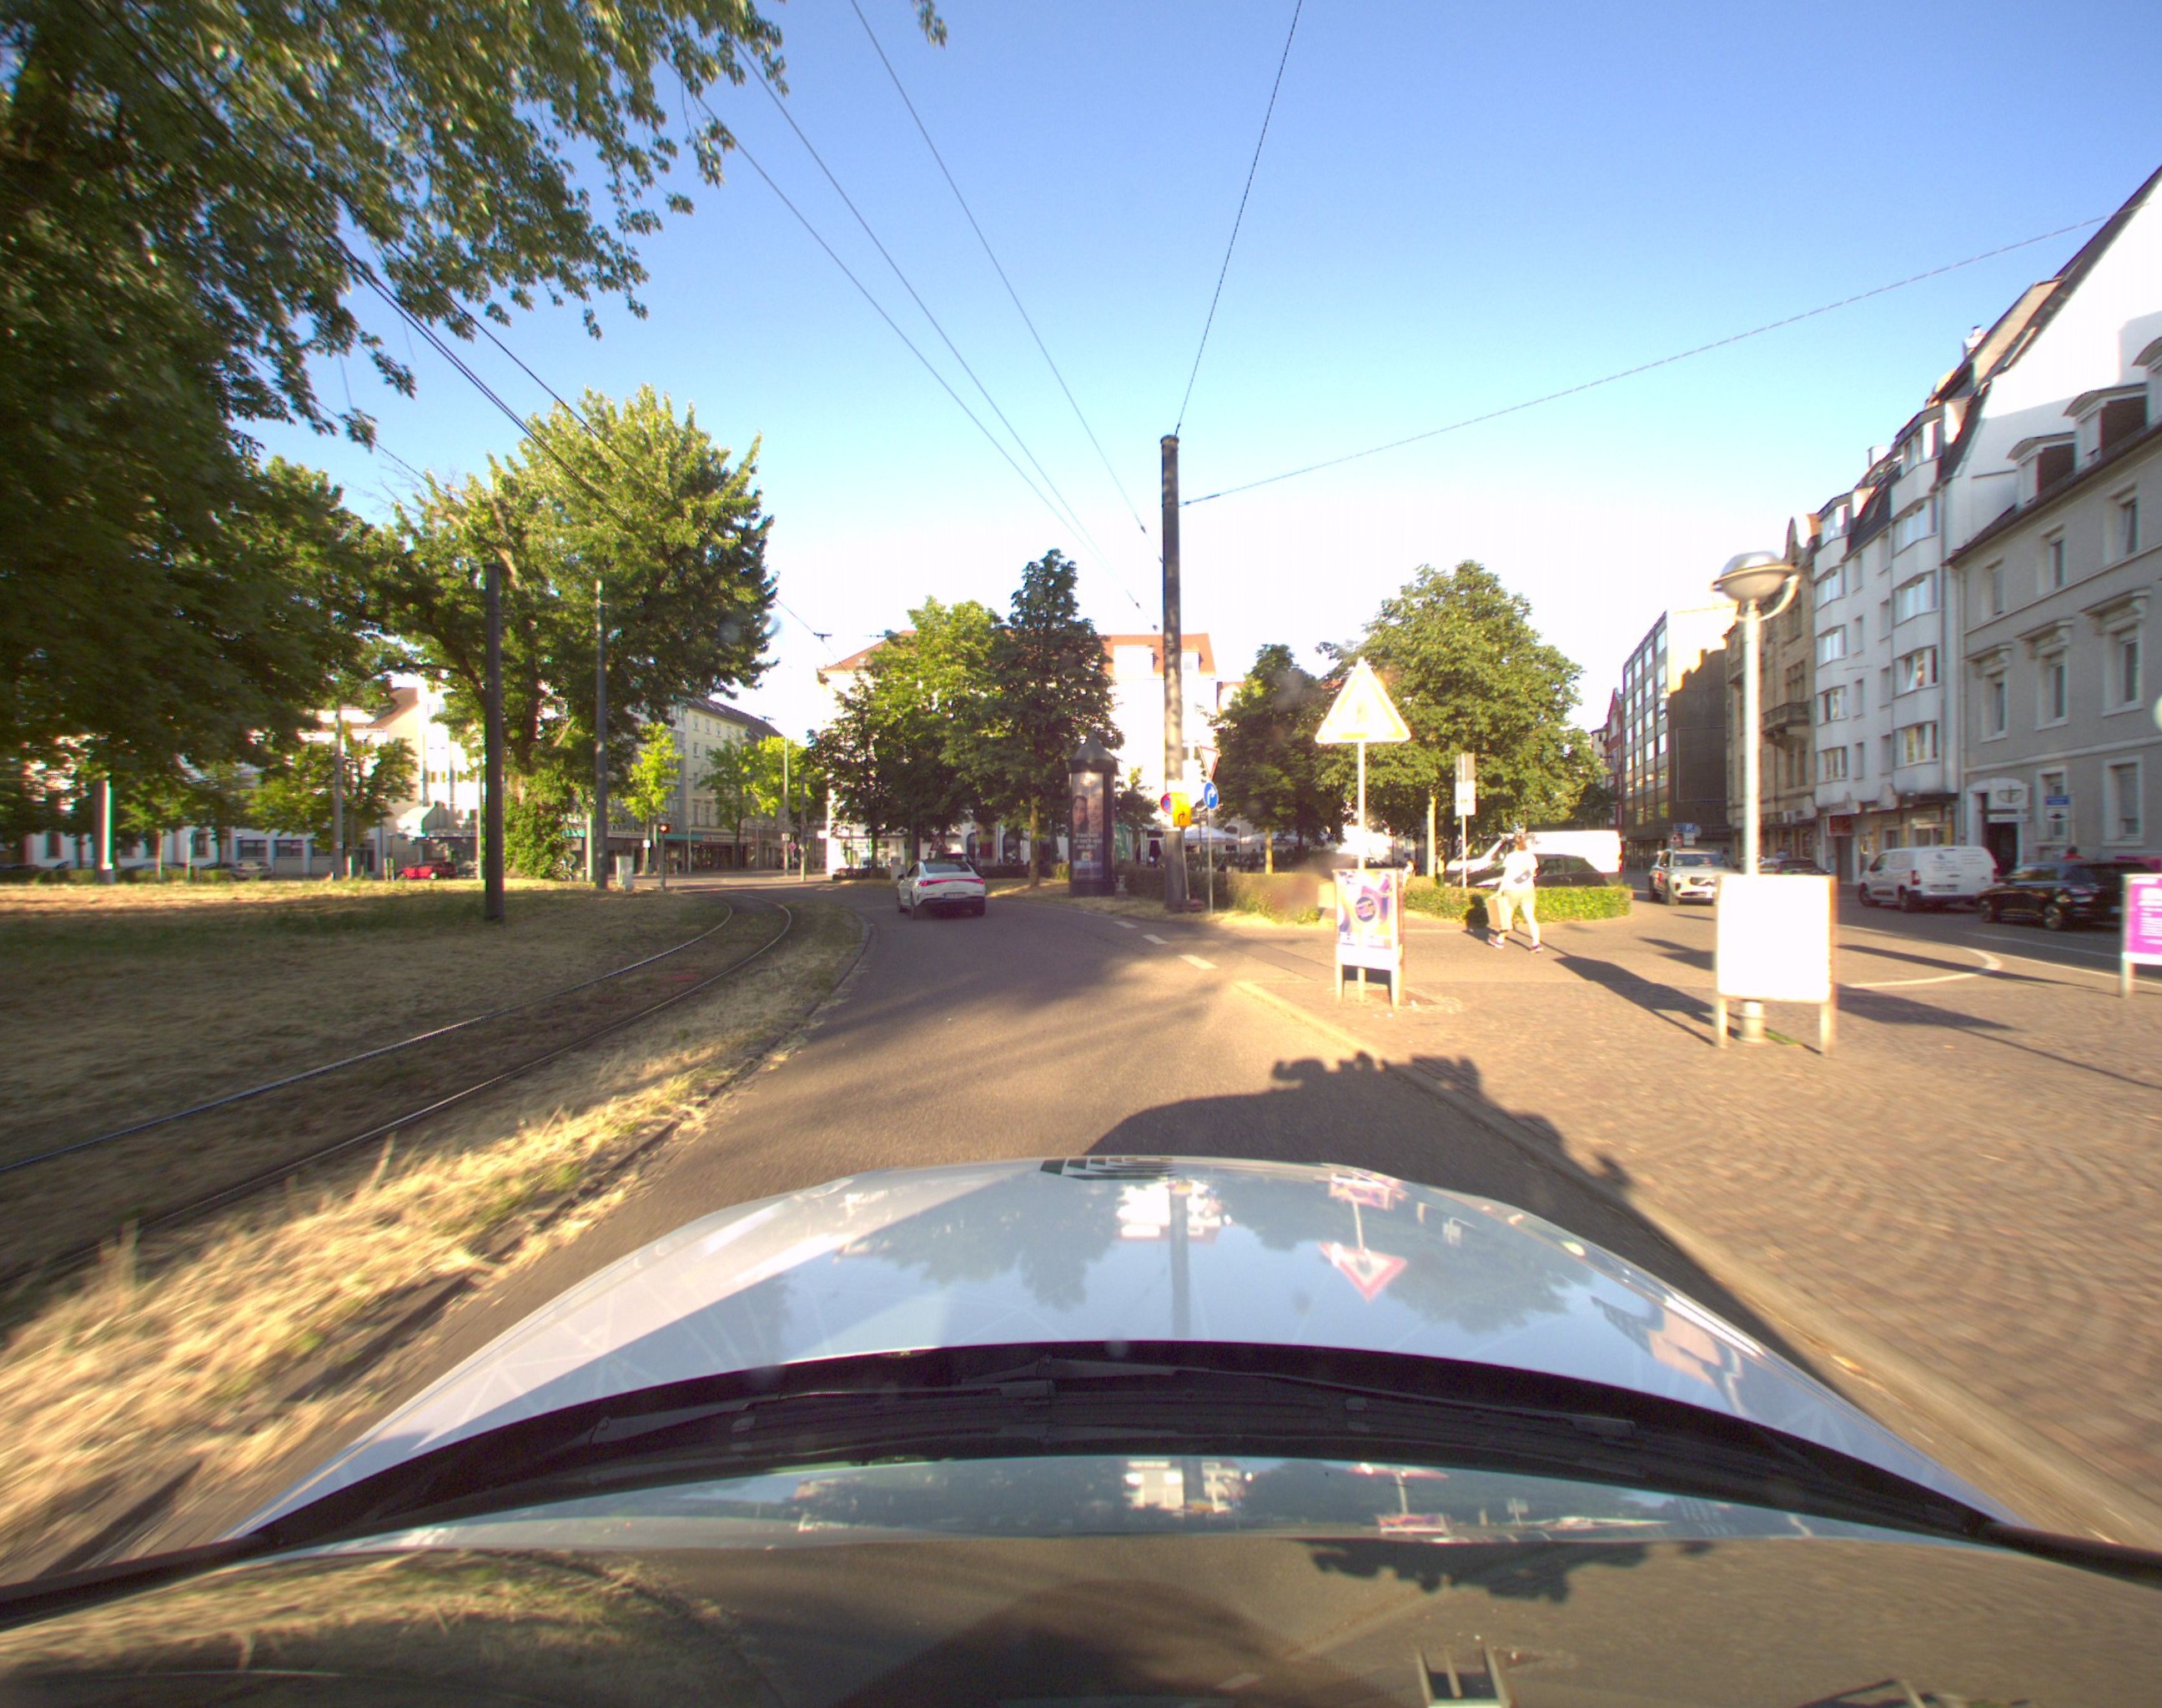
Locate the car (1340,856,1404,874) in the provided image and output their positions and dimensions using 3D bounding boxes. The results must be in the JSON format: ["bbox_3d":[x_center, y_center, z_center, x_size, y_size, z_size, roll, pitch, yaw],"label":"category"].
[{"bbox_3d":[20.784,0.774,58.195,3.970,1.301,1.854,0,0,3],"label":"car"}]

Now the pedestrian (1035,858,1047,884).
[{"bbox_3d":[-2.323,1.006,47.575,0.530,1.497,0.662,0,0,14],"label":"pedestrian"}]

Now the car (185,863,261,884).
[{"bbox_3d":[-63.435,1.434,60.271,3.713,1.442,1.597,0,0,-4],"label":"car"}]

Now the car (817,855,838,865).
[{"bbox_3d":[-37.372,0.897,120.152,1.649,1.476,3.629,0,0,4],"label":"car"}]

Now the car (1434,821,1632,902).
[{"bbox_3d":[15.043,0.231,27.347,5.494,2.594,2.154,0,0,-1],"label":"car"}]

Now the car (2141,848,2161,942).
[{"bbox_3d":[18.654,0.685,12.223,1.718,1.617,3.939,-2,-1,26],"label":"car"}]

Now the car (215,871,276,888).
[{"bbox_3d":[-67.154,2.026,65.483,3.379,1.296,1.531,0,0,1],"label":"car"}]

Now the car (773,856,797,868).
[{"bbox_3d":[-38.380,1.065,105.710,1.650,1.476,3.627,0,0,2],"label":"car"}]

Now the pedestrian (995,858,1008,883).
[{"bbox_3d":[-4.726,0.963,48.457,0.530,1.497,0.662,0,0,14],"label":"pedestrian"}]

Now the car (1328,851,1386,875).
[{"bbox_3d":[21.418,0.696,63.256,3.970,1.782,1.854,0,0,3],"label":"car"}]

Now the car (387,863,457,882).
[{"bbox_3d":[-52.578,1.483,65.001,3.971,1.464,2.001,0,0,2],"label":"car"}]

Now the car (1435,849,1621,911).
[{"bbox_3d":[11.681,0.645,21.417,3.983,1.552,1.874,0,0,-7],"label":"car"}]

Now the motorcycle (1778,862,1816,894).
[{"bbox_3d":[28.088,0.932,31.955,0.482,1.174,1.615,-3,-1,19],"label":"motorcycle"}]

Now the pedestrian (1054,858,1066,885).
[{"bbox_3d":[-1.260,1.017,48.162,0.530,1.549,0.662,0,0,14],"label":"pedestrian"}]

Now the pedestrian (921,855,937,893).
[{"bbox_3d":[-6.387,0.831,34.150,0.561,1.566,0.590,1,0,-19],"label":"pedestrian"}]

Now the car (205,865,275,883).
[{"bbox_3d":[-67.316,1.575,65.224,3.714,1.442,1.597,0,0,-5],"label":"car"}]

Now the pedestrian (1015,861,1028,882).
[{"bbox_3d":[-3.748,1.104,51.464,0.662,1.352,0.662,0,0,14],"label":"pedestrian"}]

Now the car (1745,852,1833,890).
[{"bbox_3d":[30.182,0.700,34.857,1.736,1.511,3.997,-2,-1,25],"label":"car"}]

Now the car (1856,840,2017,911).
[{"bbox_3d":[24.342,0.591,23.392,1.907,1.841,4.041,-2,-1,27],"label":"car"}]

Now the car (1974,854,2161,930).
[{"bbox_3d":[21.571,0.761,17.666,1.718,1.462,3.606,-2,-1,26],"label":"car"}]

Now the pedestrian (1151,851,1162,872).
[{"bbox_3d":[6.764,0.645,73.091,0.931,1.866,0.856,0,0,-3],"label":"pedestrian"}]

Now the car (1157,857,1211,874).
[{"bbox_3d":[7.844,0.868,62.316,3.970,1.301,1.854,0,0,3],"label":"car"}]

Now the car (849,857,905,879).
[{"bbox_3d":[-14.708,0.980,58.842,3.597,1.552,1.664,0,0,3],"label":"car"}]

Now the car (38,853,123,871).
[{"bbox_3d":[-74.278,0.572,60.497,3.950,1.255,1.600,1,0,-7],"label":"car"}]

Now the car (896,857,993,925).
[{"bbox_3d":[-3.703,0.881,21.482,1.870,1.441,4.171,-3,1,-18],"label":"car"}]

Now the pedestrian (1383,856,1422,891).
[{"bbox_3d":[11.632,0.705,29.485,1.093,1.226,0.860,1,0,0],"label":"pedestrian"}]

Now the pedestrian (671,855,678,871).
[{"bbox_3d":[-42.688,0.921,85.546,0.476,1.701,0.542,0,0,3],"label":"pedestrian"}]

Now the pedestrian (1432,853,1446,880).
[{"bbox_3d":[27.534,0.948,62.655,0.957,2.013,1.033,0,0,26],"label":"pedestrian"}]

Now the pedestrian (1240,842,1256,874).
[{"bbox_3d":[10.282,0.239,50.056,0.926,1.923,0.860,0,0,13],"label":"pedestrian"}]

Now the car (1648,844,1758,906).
[{"bbox_3d":[19.216,0.570,25.374,1.975,1.772,4.024,0,1,26],"label":"car"}]

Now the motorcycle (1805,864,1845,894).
[{"bbox_3d":[28.538,0.948,31.266,0.482,1.043,1.843,-3,0,22],"label":"motorcycle"}]

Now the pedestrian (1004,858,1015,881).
[{"bbox_3d":[-4.396,0.955,50.079,0.530,1.379,0.662,0,0,14],"label":"pedestrian"}]

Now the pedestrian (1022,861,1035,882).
[{"bbox_3d":[-3.397,1.102,52.406,0.662,1.352,0.662,0,0,14],"label":"pedestrian"}]

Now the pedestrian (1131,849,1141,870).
[{"bbox_3d":[5.029,0.505,74.038,0.852,1.866,0.936,0,0,0],"label":"pedestrian"}]

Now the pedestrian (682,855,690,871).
[{"bbox_3d":[-41.470,0.939,85.505,0.476,1.701,0.542,0,0,3],"label":"pedestrian"}]

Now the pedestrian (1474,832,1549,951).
[{"bbox_3d":[6.441,0.533,12.240,0.852,1.706,0.946,1,0,20],"label":"pedestrian"}]

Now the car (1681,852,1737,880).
[{"bbox_3d":[36.042,0.694,46.828,1.736,1.511,3.565,-2,-1,25],"label":"car"}]
